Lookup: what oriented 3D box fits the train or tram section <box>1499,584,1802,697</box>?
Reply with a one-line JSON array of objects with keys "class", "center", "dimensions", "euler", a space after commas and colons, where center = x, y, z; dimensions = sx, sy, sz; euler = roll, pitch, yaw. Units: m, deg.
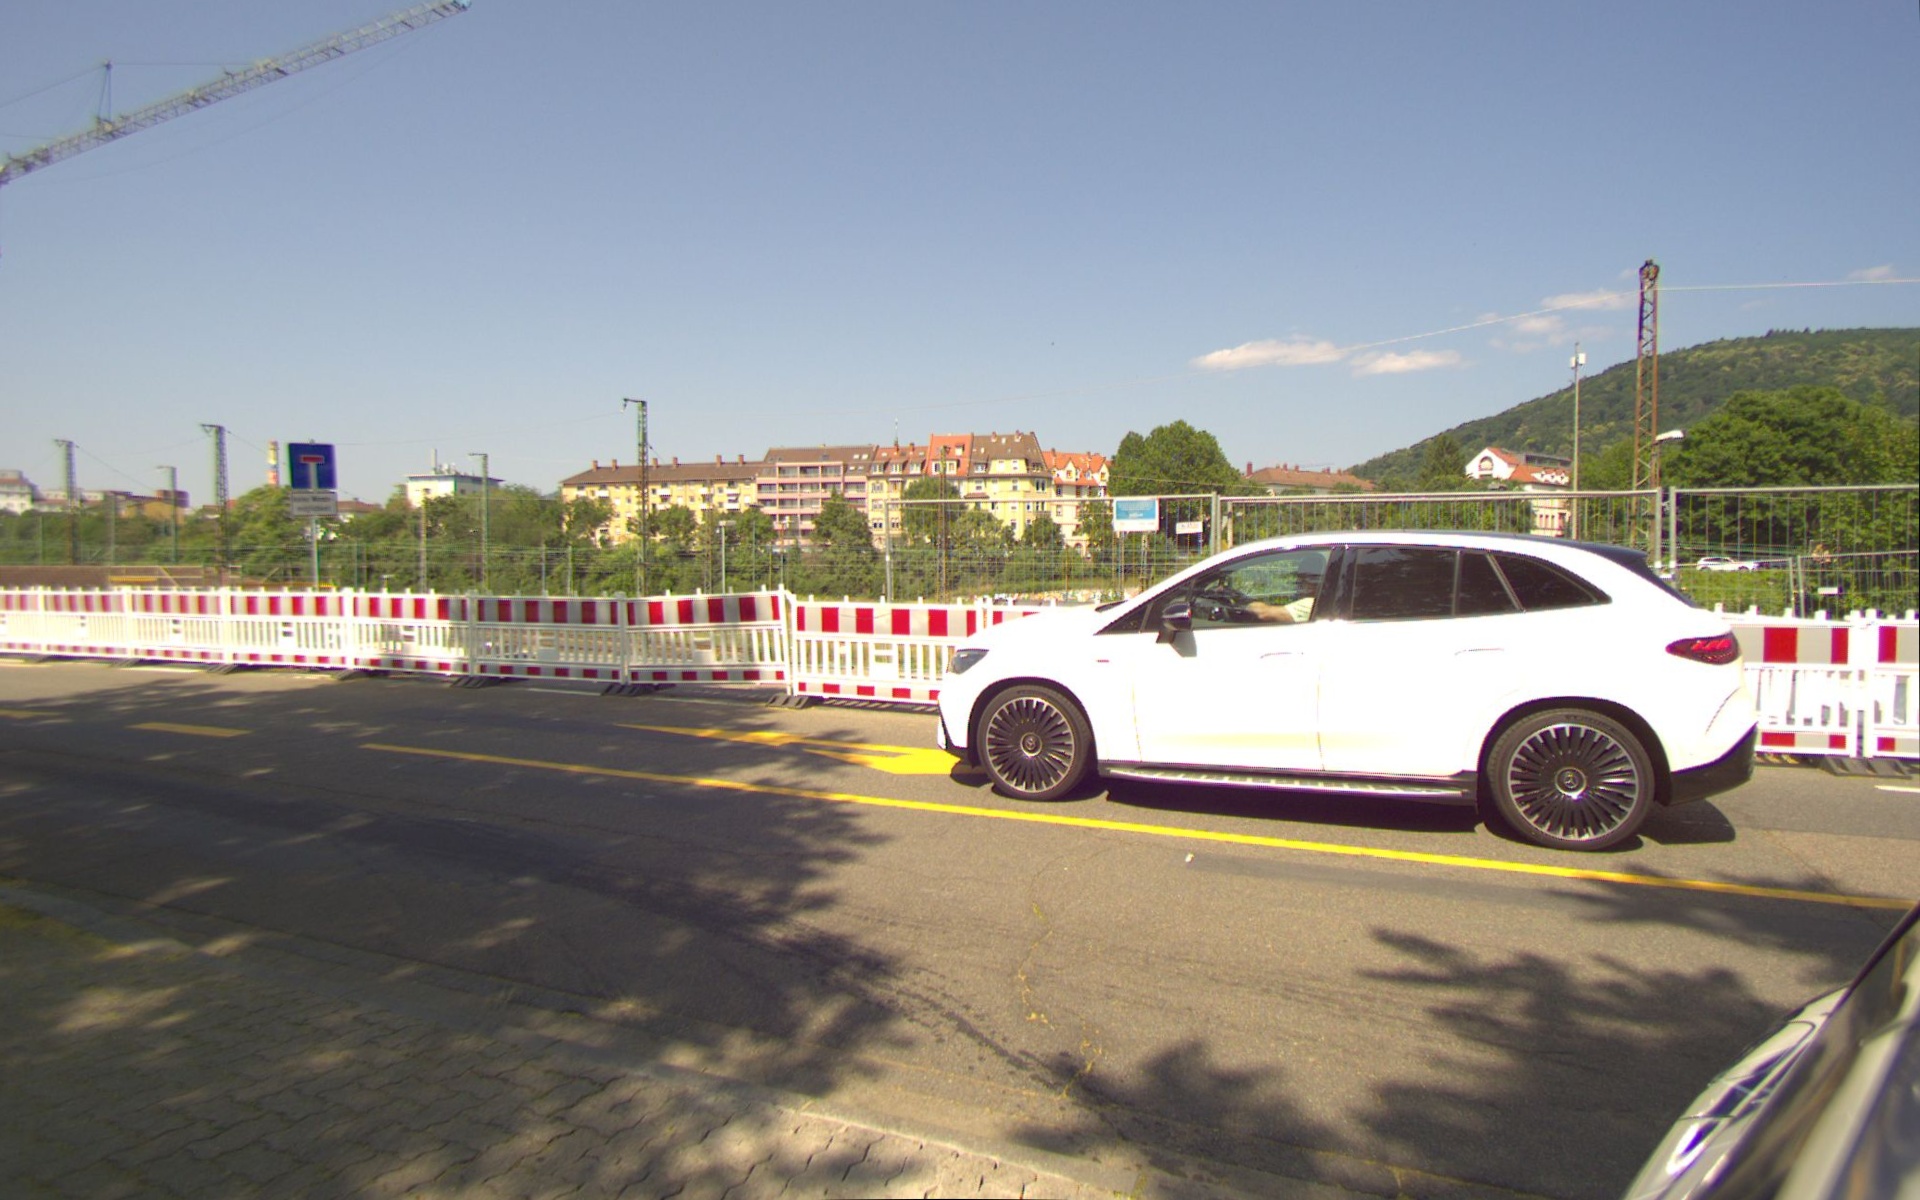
[{"class": "train or tram section", "center": [25.090, 1.363, 37.386], "dimensions": [8.910, 3.761, 2.987], "euler": [0, 0, 34]}]

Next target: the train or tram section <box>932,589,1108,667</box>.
[{"class": "train or tram section", "center": [3.014, 1.376, 52.614], "dimensions": [8.910, 3.751, 2.987], "euler": [0, 0, 34]}]

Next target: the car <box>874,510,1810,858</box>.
[{"class": "car", "center": [2.095, 0.335, 6.696], "dimensions": [4.973, 1.664, 1.986], "euler": [0, 3, 22]}]
